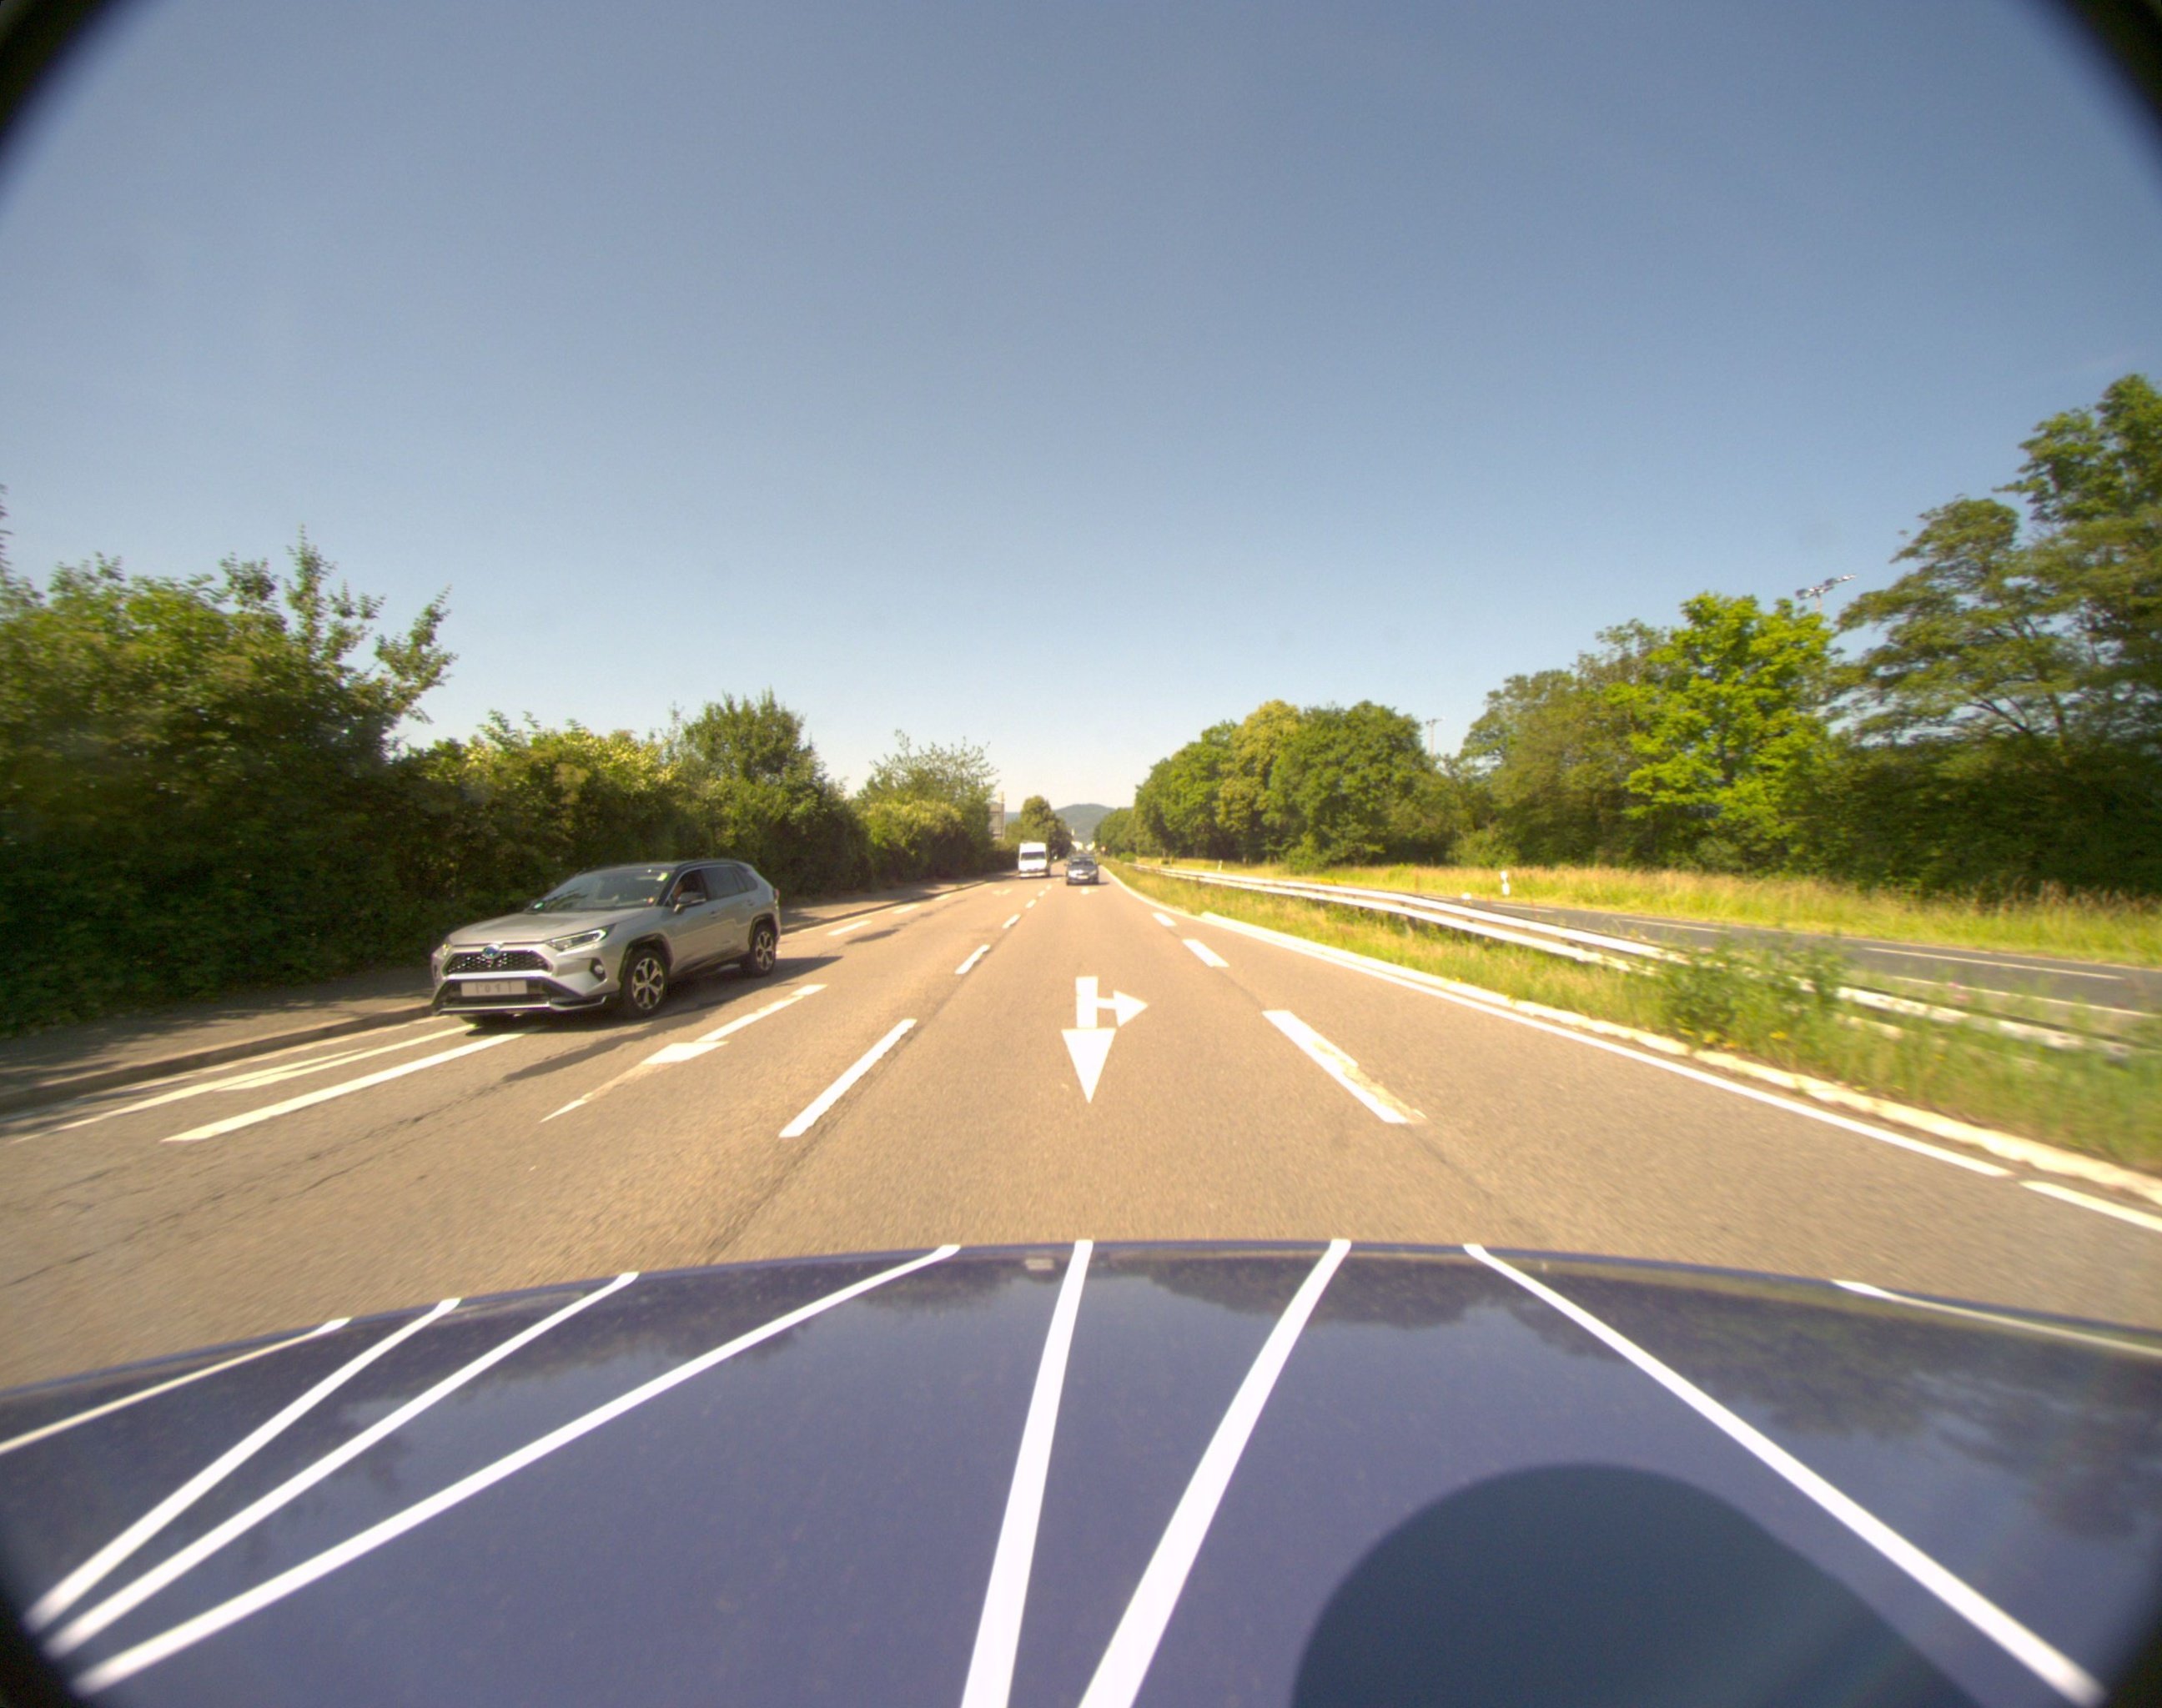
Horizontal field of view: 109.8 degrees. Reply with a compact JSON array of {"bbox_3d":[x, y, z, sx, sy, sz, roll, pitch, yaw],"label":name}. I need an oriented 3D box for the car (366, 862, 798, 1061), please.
[{"bbox_3d":[-5.400,1.003,9.219,1.906,1.670,4.684,-2,0,3],"label":"car"}]

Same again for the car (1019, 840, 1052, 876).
[{"bbox_3d":[-3.156,0.226,53.763,1.998,2.433,5.088,-1,1,0],"label":"car"}]

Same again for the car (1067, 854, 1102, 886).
[{"bbox_3d":[0.163,0.784,39.125,1.678,1.435,4.360,-1,1,0],"label":"car"}]

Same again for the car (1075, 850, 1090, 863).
[{"bbox_3d":[0.154,0.286,88.668,1.678,1.435,3.621,-1,1,0],"label":"car"}]
